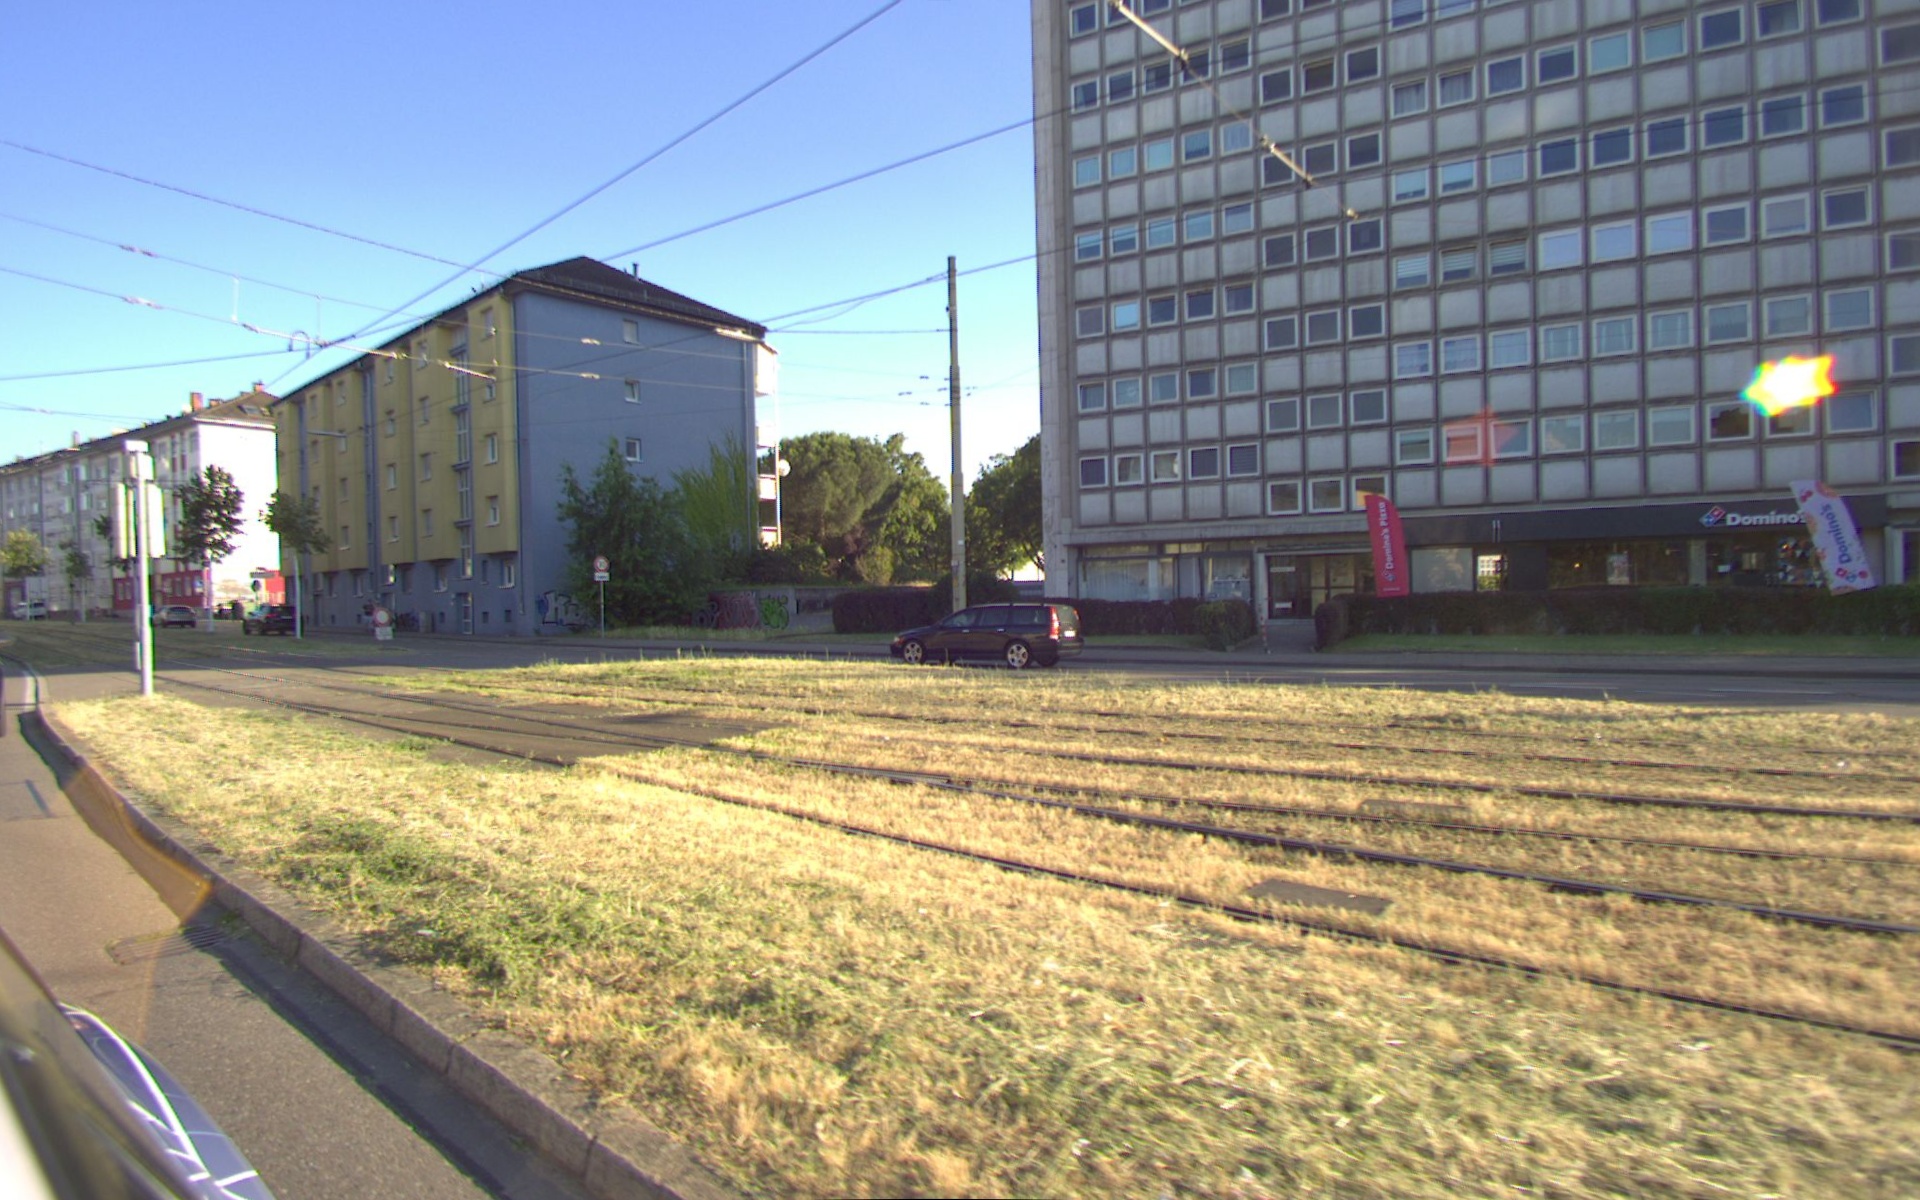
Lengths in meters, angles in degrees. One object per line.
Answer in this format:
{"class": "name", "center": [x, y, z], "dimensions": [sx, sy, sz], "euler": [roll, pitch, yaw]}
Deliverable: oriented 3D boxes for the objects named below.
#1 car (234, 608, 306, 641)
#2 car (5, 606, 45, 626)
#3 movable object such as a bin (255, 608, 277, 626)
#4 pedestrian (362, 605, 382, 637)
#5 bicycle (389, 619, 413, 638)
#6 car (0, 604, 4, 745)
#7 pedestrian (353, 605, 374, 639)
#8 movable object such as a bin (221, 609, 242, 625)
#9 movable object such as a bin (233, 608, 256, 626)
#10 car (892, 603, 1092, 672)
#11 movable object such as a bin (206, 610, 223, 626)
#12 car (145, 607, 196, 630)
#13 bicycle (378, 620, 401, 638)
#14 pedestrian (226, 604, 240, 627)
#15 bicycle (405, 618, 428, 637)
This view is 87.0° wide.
{"class": "car", "center": [-36.525, 1.328, 53.526], "dimensions": [4.704, 1.674, 1.899], "euler": [-2, -1, 39]}
{"class": "car", "center": [-92.063, 1.587, 99.627], "dimensions": [4.408, 1.843, 1.852], "euler": [-1, -1, 33]}
{"class": "movable object such as a bin", "center": [-56.685, 1.418, 82.663], "dimensions": [1.106, 1.426, 1.206], "euler": [-1, 0, 36]}
{"class": "pedestrian", "center": [-31.824, 1.133, 54.764], "dimensions": [0.706, 1.706, 0.610], "euler": [-1, 4, 40]}
{"class": "bicycle", "center": [-29.792, 1.519, 53.928], "dimensions": [1.911, 0.932, 0.422], "euler": [-1, 4, 42]}
{"class": "car", "center": [-13.251, 0.900, 12.609], "dimensions": [4.217, 1.636, 1.763], "euler": [-1, -1, 44]}
{"class": "pedestrian", "center": [-31.884, 1.171, 54.078], "dimensions": [0.885, 1.786, 0.587], "euler": [-1, 4, 40]}
{"class": "movable object such as a bin", "center": [-59.149, 1.385, 82.152], "dimensions": [0.804, 1.296, 1.148], "euler": [-1, 0, 36]}
{"class": "movable object such as a bin", "center": [-57.603, 1.373, 81.488], "dimensions": [1.136, 1.426, 1.206], "euler": [-1, 0, 36]}
{"class": "car", "center": [0.708, 0.869, 23.642], "dimensions": [4.381, 1.493, 1.764], "euler": [-1, -2, 29]}
{"class": "movable object such as a bin", "center": [-59.790, 1.449, 81.135], "dimensions": [0.804, 1.235, 0.858], "euler": [-1, 0, 36]}
{"class": "car", "center": [-51.797, 1.190, 66.351], "dimensions": [4.310, 1.471, 1.681], "euler": [0, -1, 38]}
{"class": "bicycle", "center": [-30.837, 1.550, 54.663], "dimensions": [1.911, 0.932, 0.422], "euler": [-1, 3, 42]}
{"class": "pedestrian", "center": [-55.075, 1.188, 76.645], "dimensions": [0.790, 1.702, 0.608], "euler": [-1, 0, 35]}
{"class": "bicycle", "center": [-28.308, 1.443, 52.686], "dimensions": [1.911, 0.967, 0.422], "euler": [-1, 0, 42]}
